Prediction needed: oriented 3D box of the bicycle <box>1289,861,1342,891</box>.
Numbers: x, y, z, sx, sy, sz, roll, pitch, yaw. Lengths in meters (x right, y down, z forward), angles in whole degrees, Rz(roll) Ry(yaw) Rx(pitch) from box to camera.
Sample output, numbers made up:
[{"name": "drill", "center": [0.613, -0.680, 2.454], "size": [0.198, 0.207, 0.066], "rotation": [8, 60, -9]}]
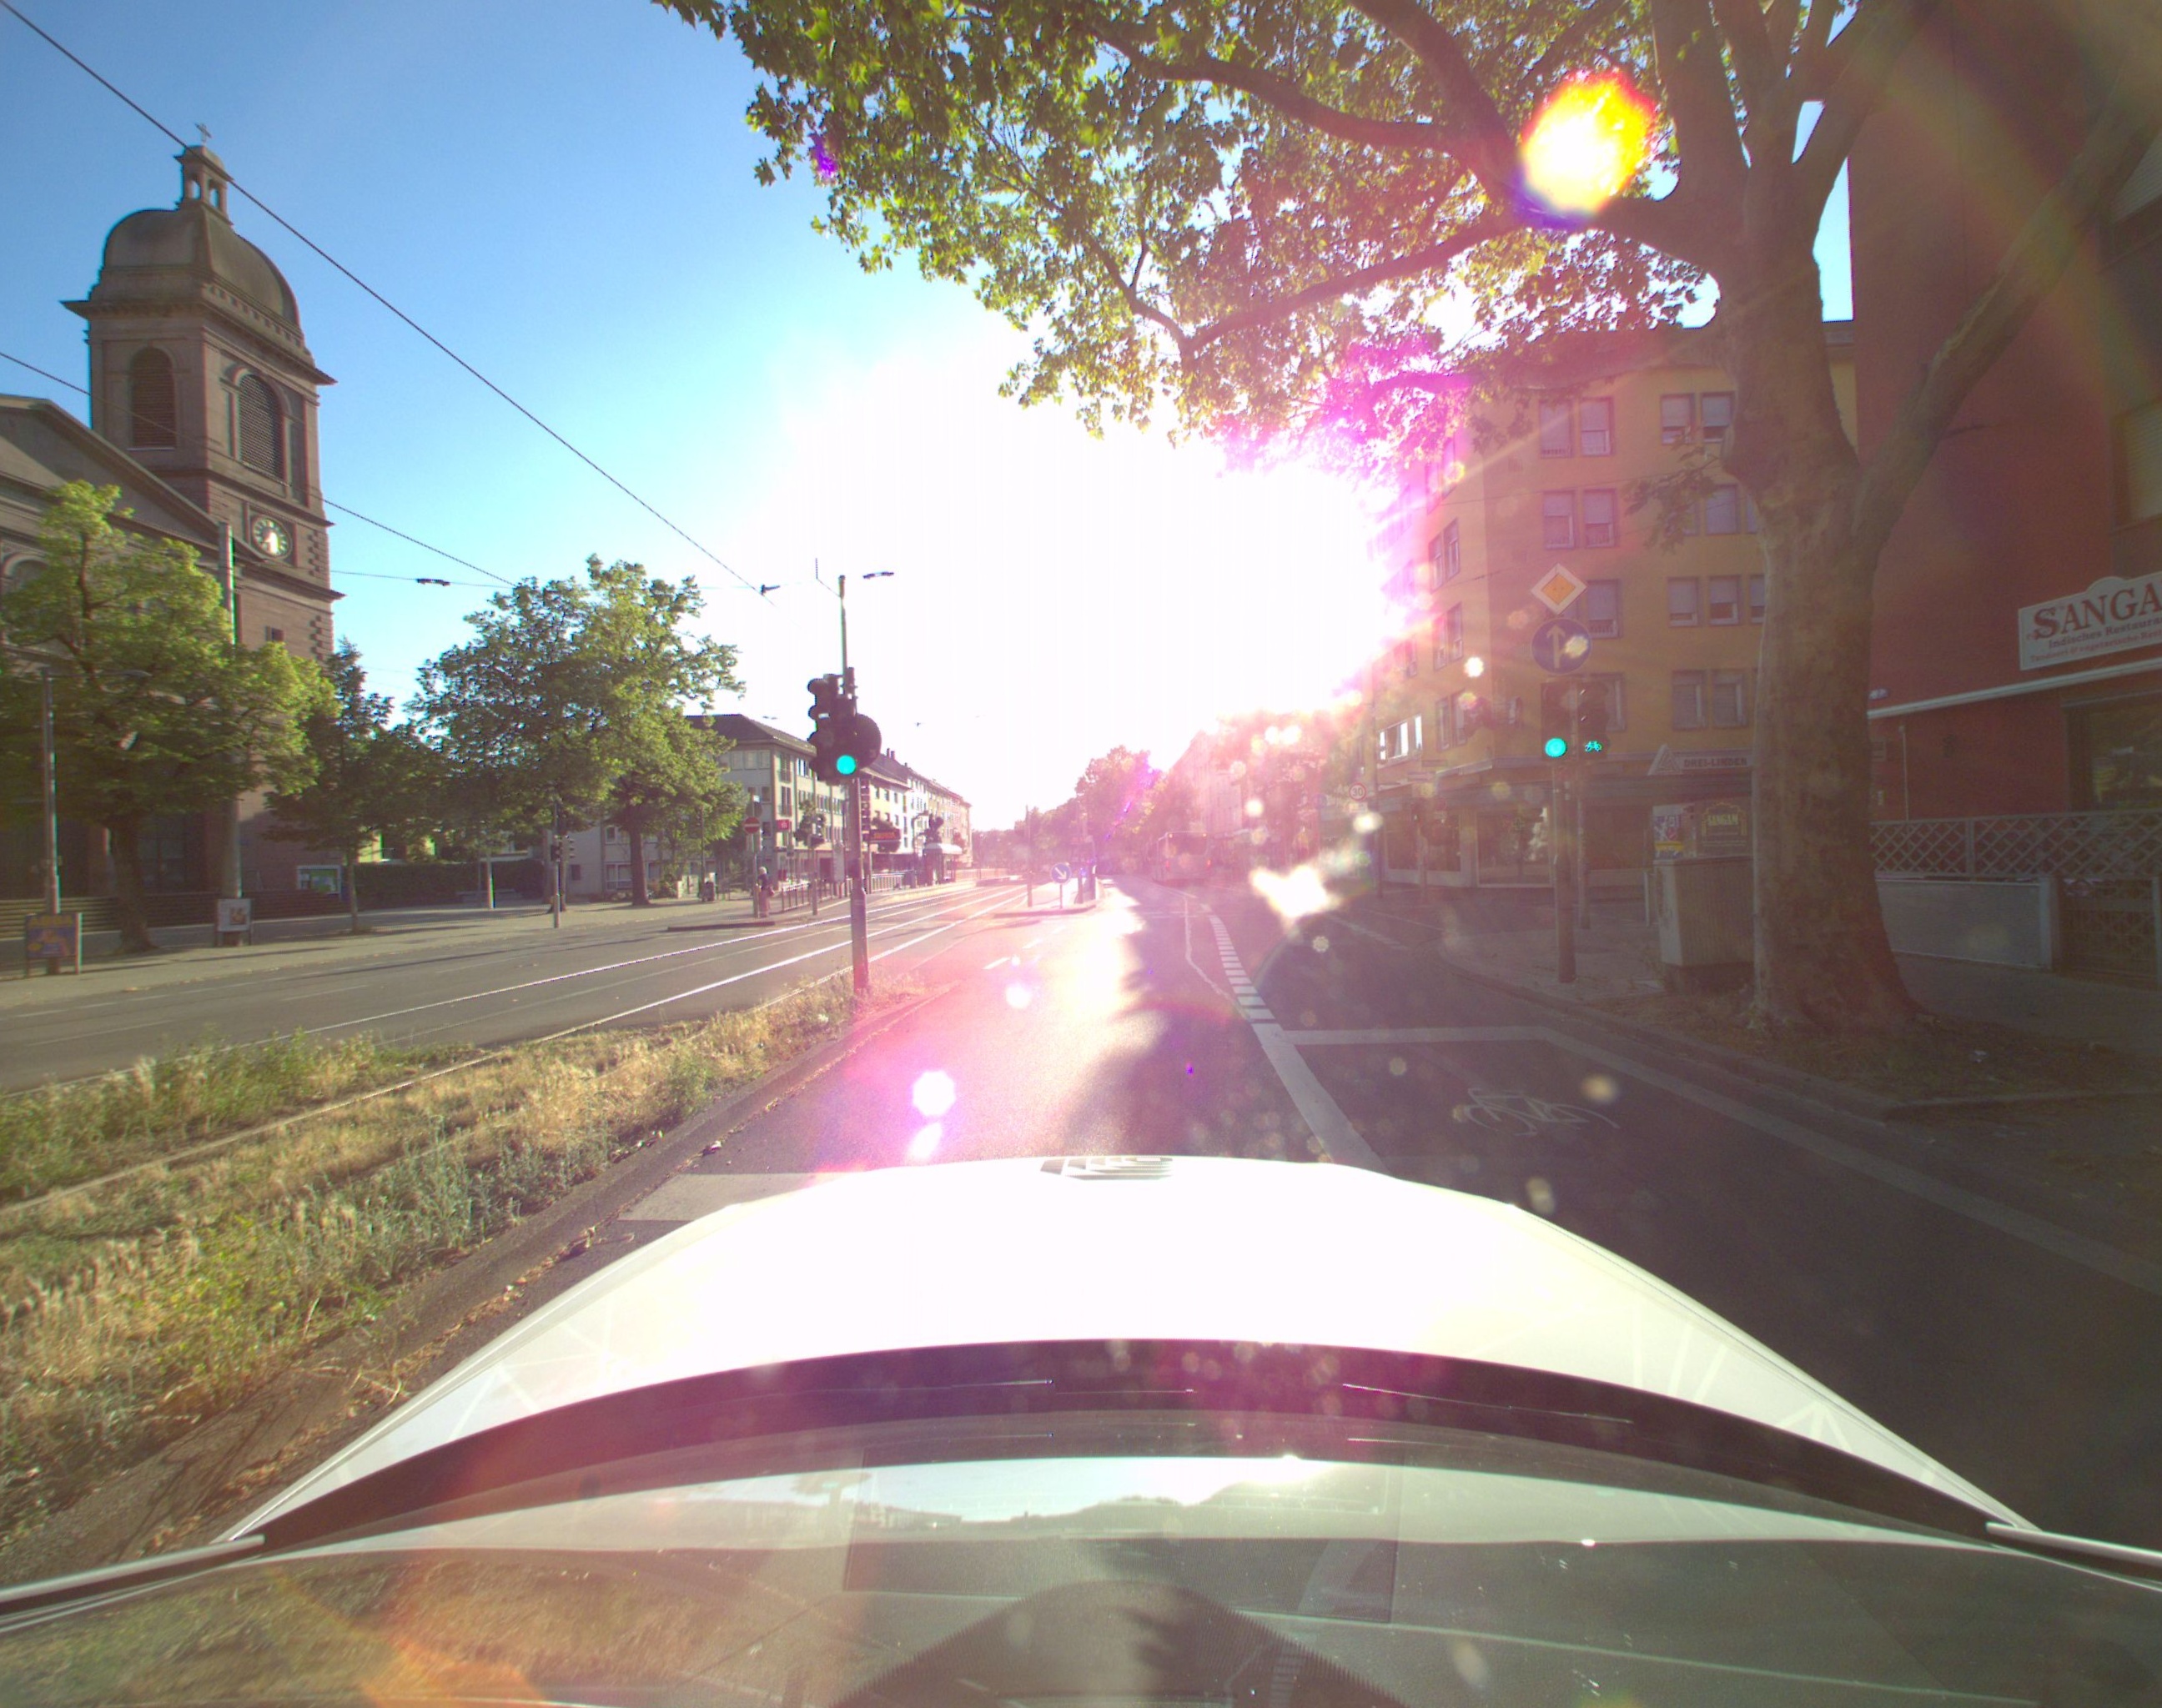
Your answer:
[{"name": "bicycle", "center": [8.881, 0.841, 30.924], "size": [1.794, 1.008, 0.540], "rotation": [-4, -1, -3]}]

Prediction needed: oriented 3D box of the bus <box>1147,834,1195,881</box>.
[{"name": "bus", "center": [6.418, 0.264, 59.141], "size": [2.686, 3.118, 9.073], "rotation": [-1, -1, 2]}]

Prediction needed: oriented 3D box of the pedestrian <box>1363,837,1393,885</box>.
[{"name": "pedestrian", "center": [11.260, 0.264, 30.912], "size": [0.741, 1.780, 0.895], "rotation": [-2, -1, 1]}]

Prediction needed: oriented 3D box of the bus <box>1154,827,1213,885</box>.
[{"name": "bus", "center": [6.090, 0.167, 49.919], "size": [2.686, 3.118, 9.385], "rotation": [-1, -1, 2]}]

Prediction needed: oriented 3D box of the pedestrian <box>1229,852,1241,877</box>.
[{"name": "pedestrian", "center": [9.960, 0.684, 52.529], "size": [0.607, 1.578, 0.852], "rotation": [-2, -1, 4]}]

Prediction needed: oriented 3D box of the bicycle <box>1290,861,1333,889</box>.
[{"name": "bicycle", "center": [8.936, 0.823, 31.575], "size": [1.479, 1.008, 0.454], "rotation": [-2, -1, -3]}]

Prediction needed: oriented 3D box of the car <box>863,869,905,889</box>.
[{"name": "car", "center": [-18.793, 2.382, 77.825], "size": [1.748, 1.679, 3.533], "rotation": [-2, 0, 37]}]

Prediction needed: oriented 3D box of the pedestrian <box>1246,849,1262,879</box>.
[{"name": "pedestrian", "center": [10.433, 0.608, 49.198], "size": [0.721, 1.779, 0.766], "rotation": [-2, -1, 1]}]

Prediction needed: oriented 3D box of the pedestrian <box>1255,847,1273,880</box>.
[{"name": "pedestrian", "center": [10.234, 0.556, 45.553], "size": [0.721, 1.807, 0.766], "rotation": [-2, -1, 1]}]

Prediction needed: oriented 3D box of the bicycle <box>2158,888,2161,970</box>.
[{"name": "bicycle", "center": [5.660, 0.768, 3.435], "size": [0.613, 1.111, 1.812], "rotation": [-3, 1, 28]}]

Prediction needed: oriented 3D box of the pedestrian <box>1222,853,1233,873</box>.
[{"name": "pedestrian", "center": [12.229, 0.756, 67.848], "size": [0.721, 1.632, 0.766], "rotation": [-2, -1, 1]}]

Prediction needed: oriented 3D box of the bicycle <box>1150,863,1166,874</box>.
[{"name": "bicycle", "center": [9.518, 1.809, 100.691], "size": [1.879, 1.077, 0.755], "rotation": [-6, -1, 4]}]

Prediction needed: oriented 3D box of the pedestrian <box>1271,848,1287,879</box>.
[{"name": "pedestrian", "center": [11.554, 0.560, 47.508], "size": [0.721, 1.723, 0.766], "rotation": [-2, -1, 1]}]

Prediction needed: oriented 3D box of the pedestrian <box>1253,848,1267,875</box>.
[{"name": "pedestrian", "center": [12.454, 0.548, 56.677], "size": [0.721, 1.840, 0.766], "rotation": [-2, -1, 1]}]

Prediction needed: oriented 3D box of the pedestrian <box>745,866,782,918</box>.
[{"name": "pedestrian", "center": [-11.100, 1.302, 28.488], "size": [0.915, 1.760, 0.833], "rotation": [-2, -1, 2]}]
